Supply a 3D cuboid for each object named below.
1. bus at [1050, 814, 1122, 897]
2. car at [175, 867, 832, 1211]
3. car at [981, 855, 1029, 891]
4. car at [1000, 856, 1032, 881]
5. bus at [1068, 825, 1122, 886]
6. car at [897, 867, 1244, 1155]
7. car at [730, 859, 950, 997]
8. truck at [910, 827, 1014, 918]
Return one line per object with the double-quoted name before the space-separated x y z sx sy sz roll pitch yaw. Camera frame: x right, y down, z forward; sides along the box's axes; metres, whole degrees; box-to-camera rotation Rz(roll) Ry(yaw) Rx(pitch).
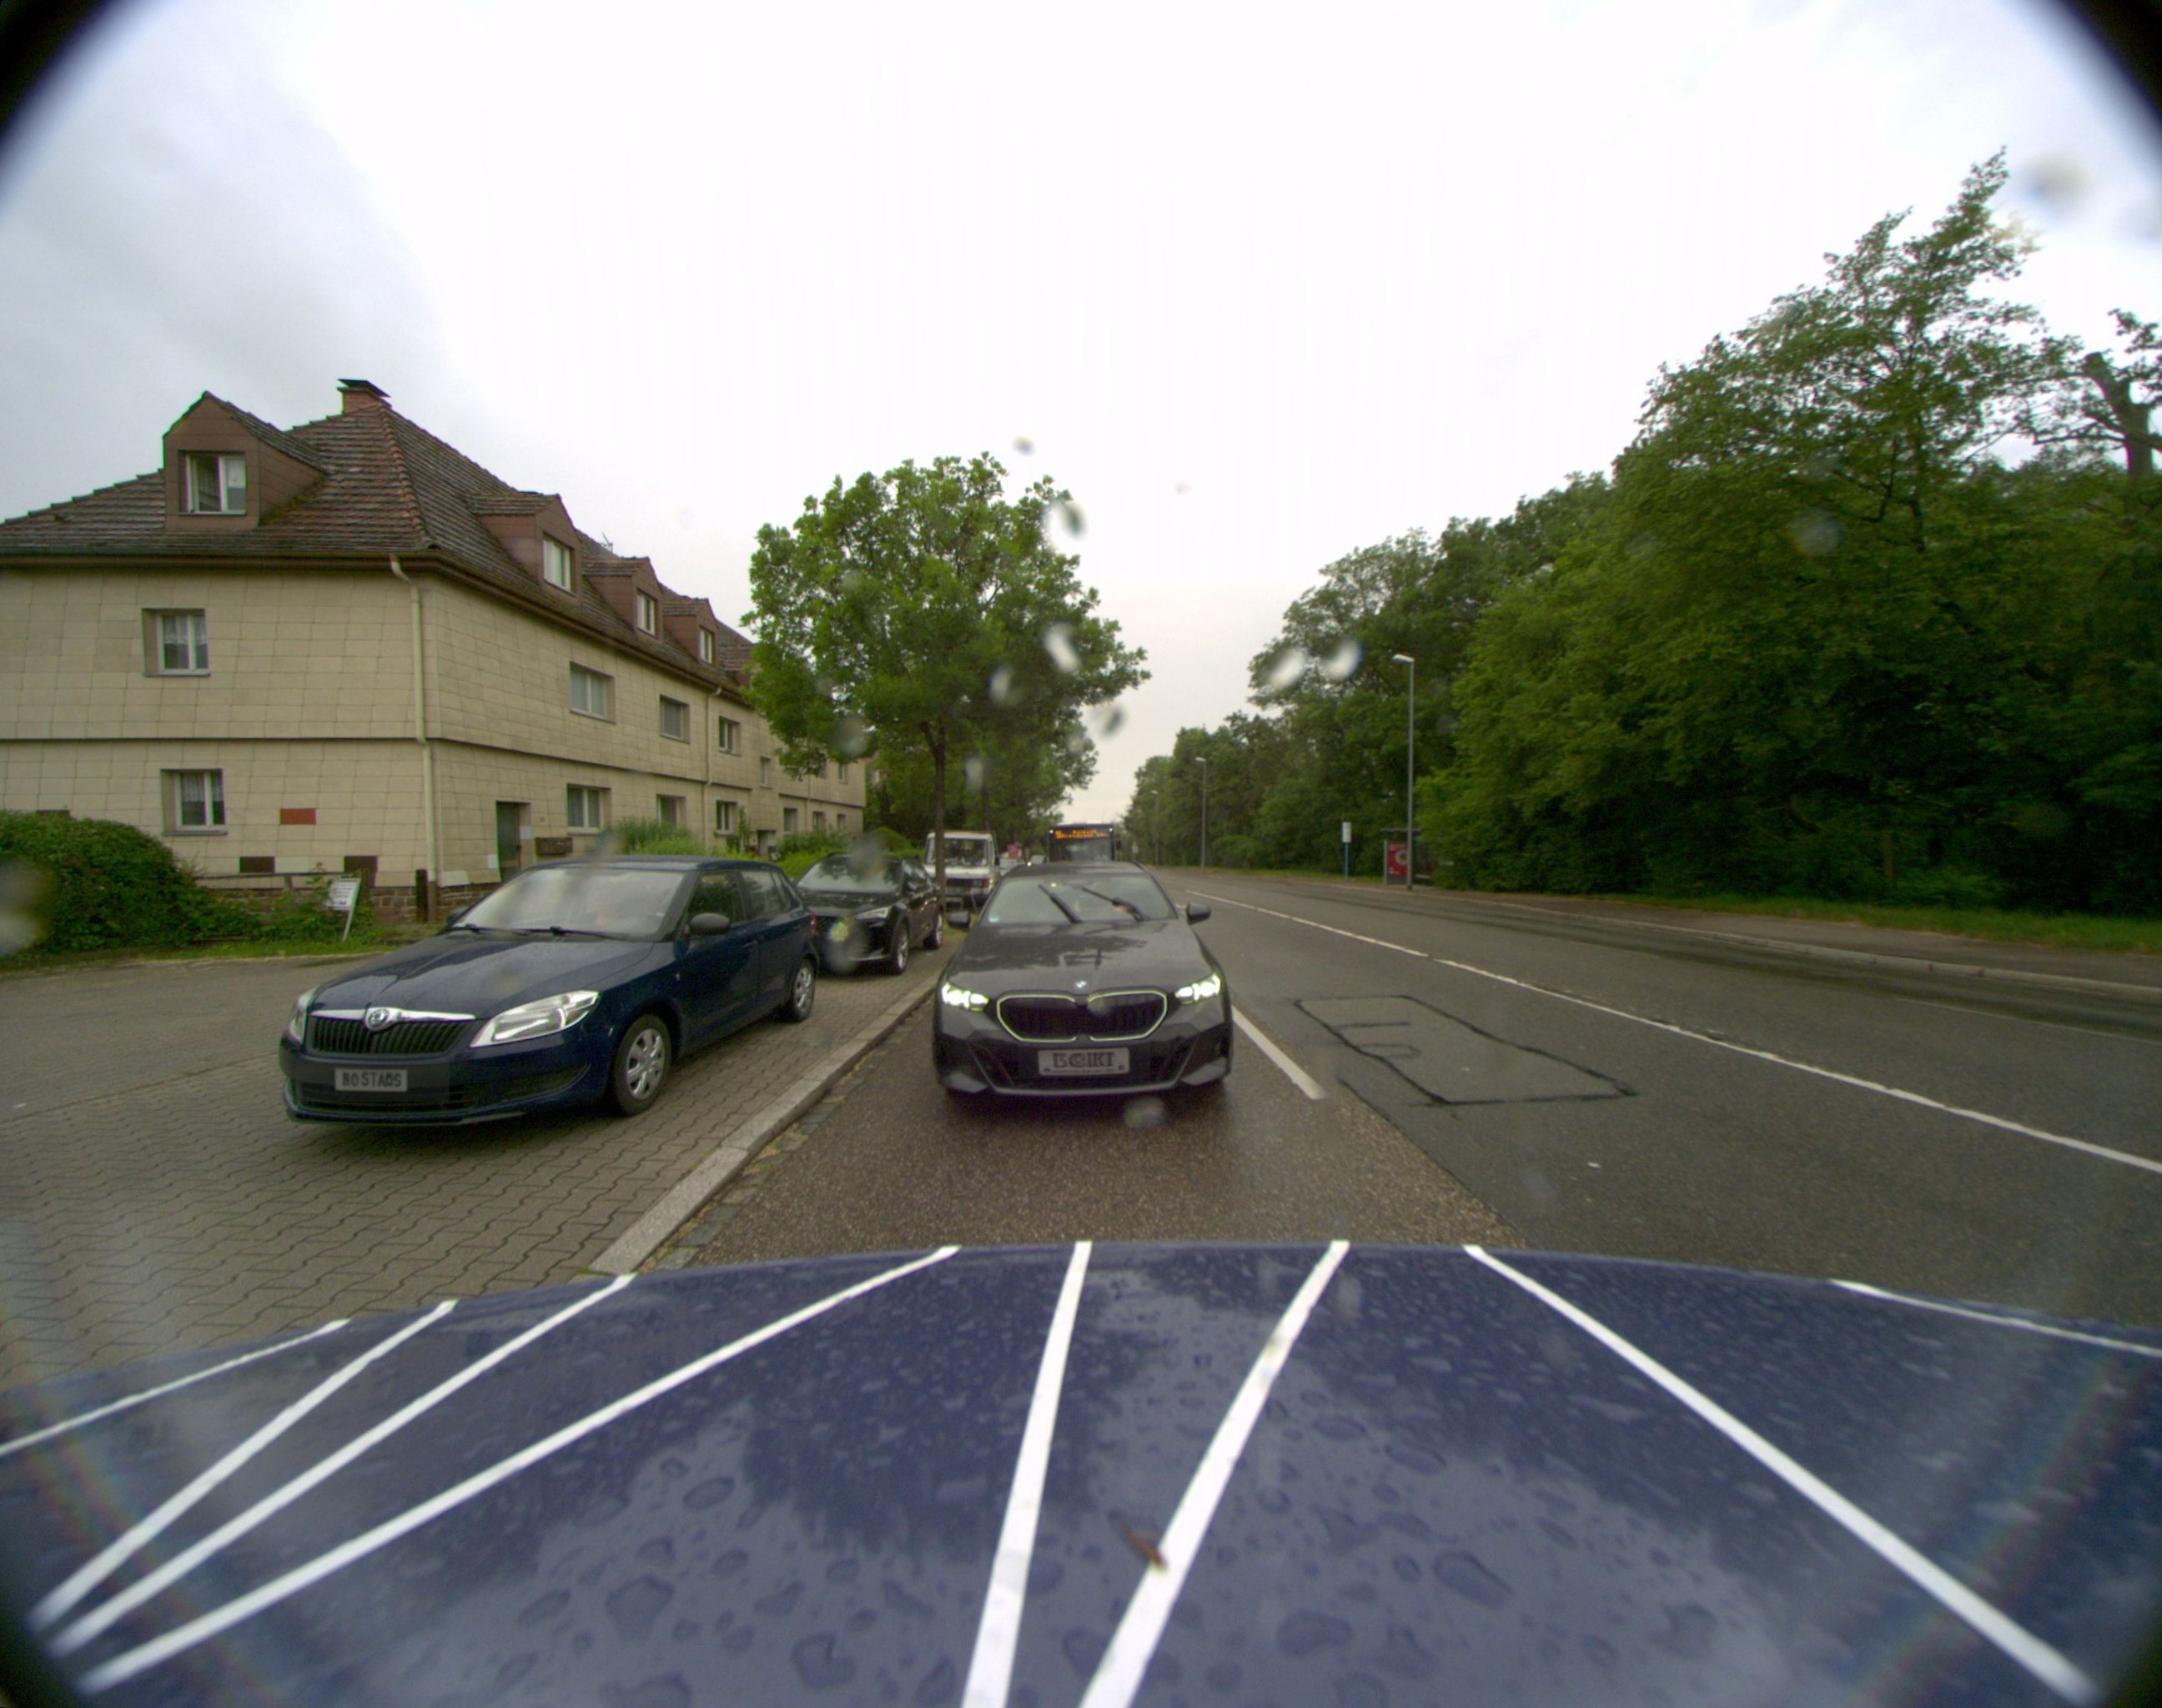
"bus" 0.433 0.064 32.187 2.562 2.942 9.452 -1 0 3
"car" -3.231 0.859 5.335 1.608 1.463 3.856 1 0 1
"car" -3.285 0.860 33.412 1.605 1.427 4.023 2 -2 0
"car" -3.971 0.859 47.095 1.692 1.381 4.499 1 0 -1
"bus" 0.769 0.071 41.190 2.561 2.942 8.558 -1 0 1
"car" -0.069 0.892 6.374 1.855 1.461 4.483 -1 0 0
"car" -3.085 0.851 10.692 1.718 1.490 4.183 2 0 0
"truck" -3.271 0.456 22.299 2.085 2.208 6.500 2 0 -1
